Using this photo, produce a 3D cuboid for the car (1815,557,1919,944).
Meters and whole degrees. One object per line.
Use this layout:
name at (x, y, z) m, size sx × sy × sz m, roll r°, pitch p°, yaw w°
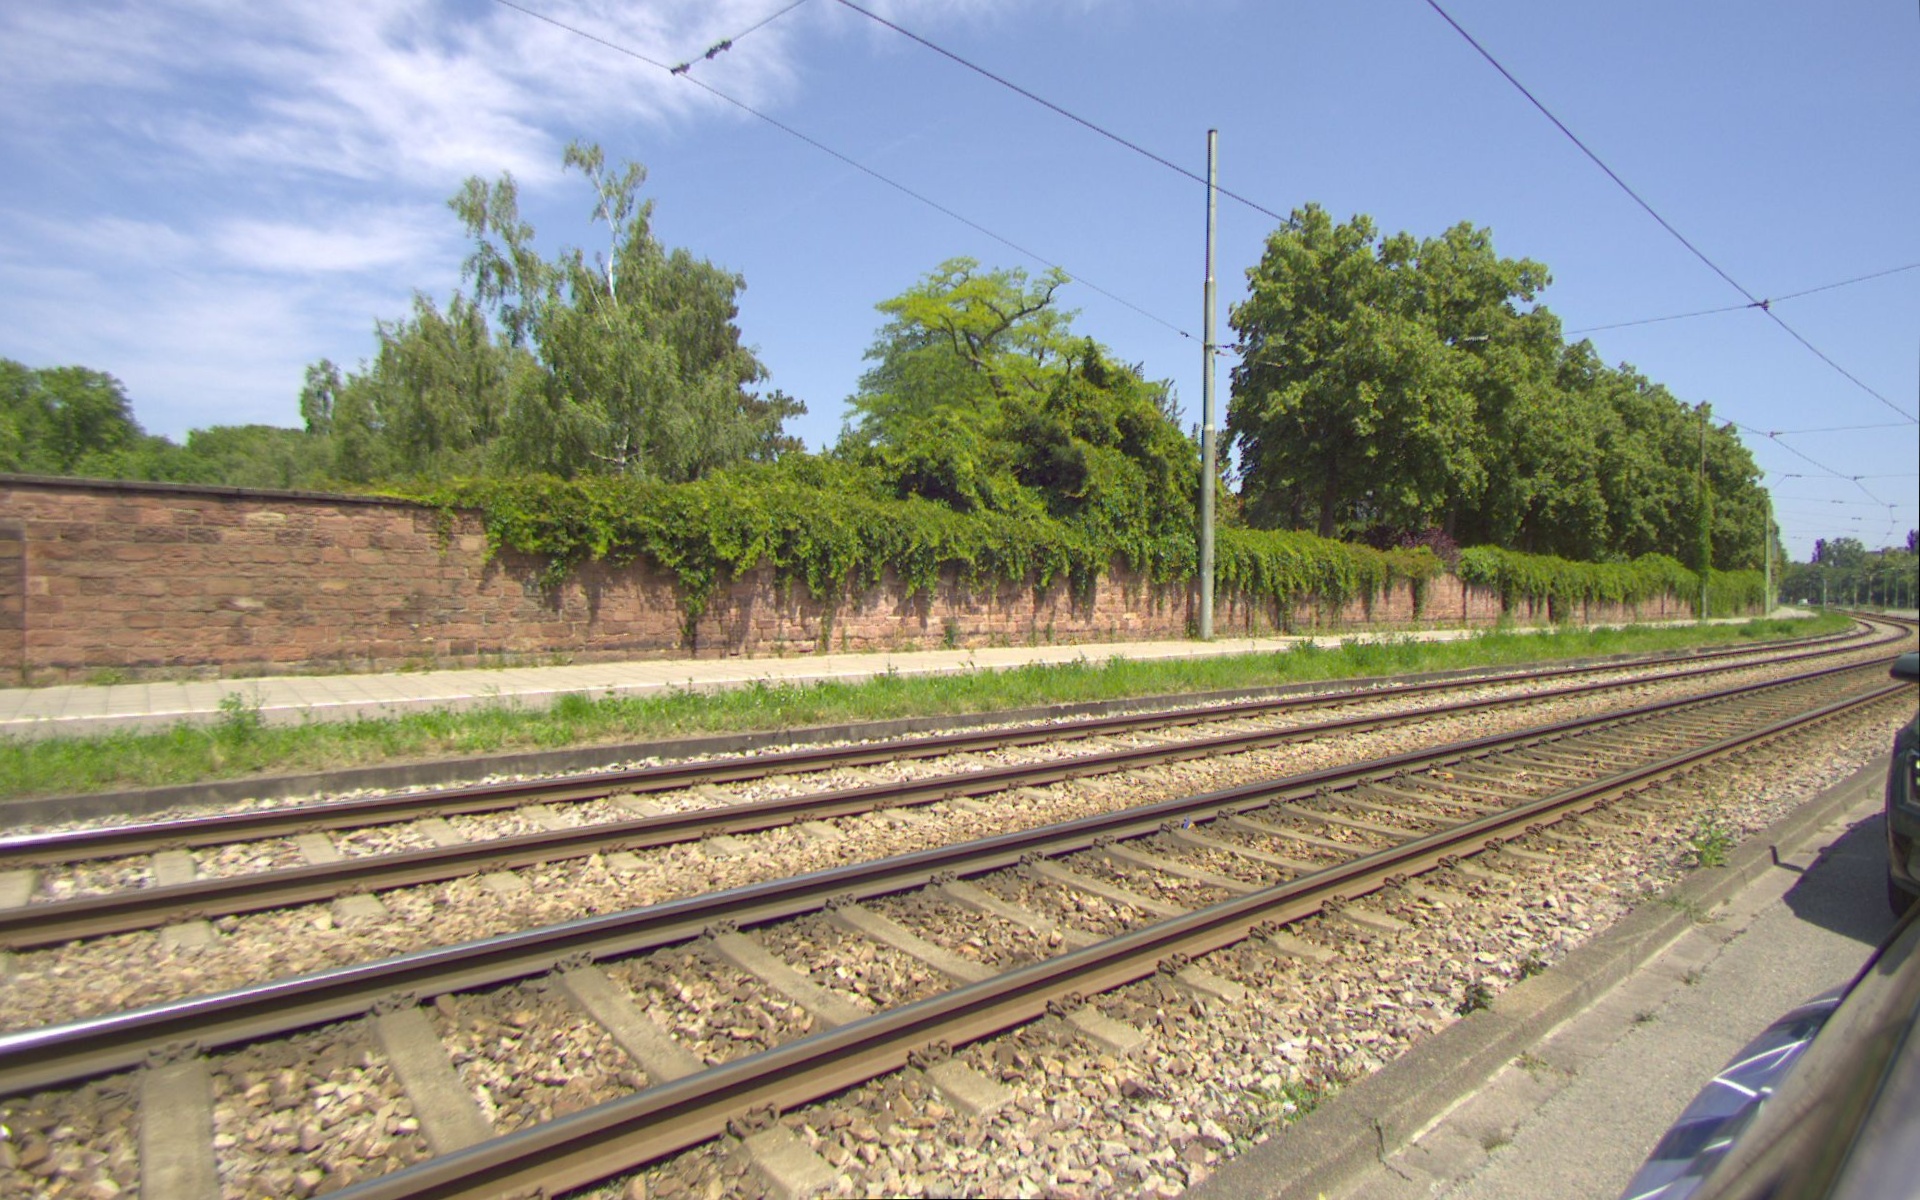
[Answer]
car at (5.848, 0.599, 4.742) m, size 3.927 × 1.563 × 2.062 m, roll 0°, pitch -1°, yaw -38°
